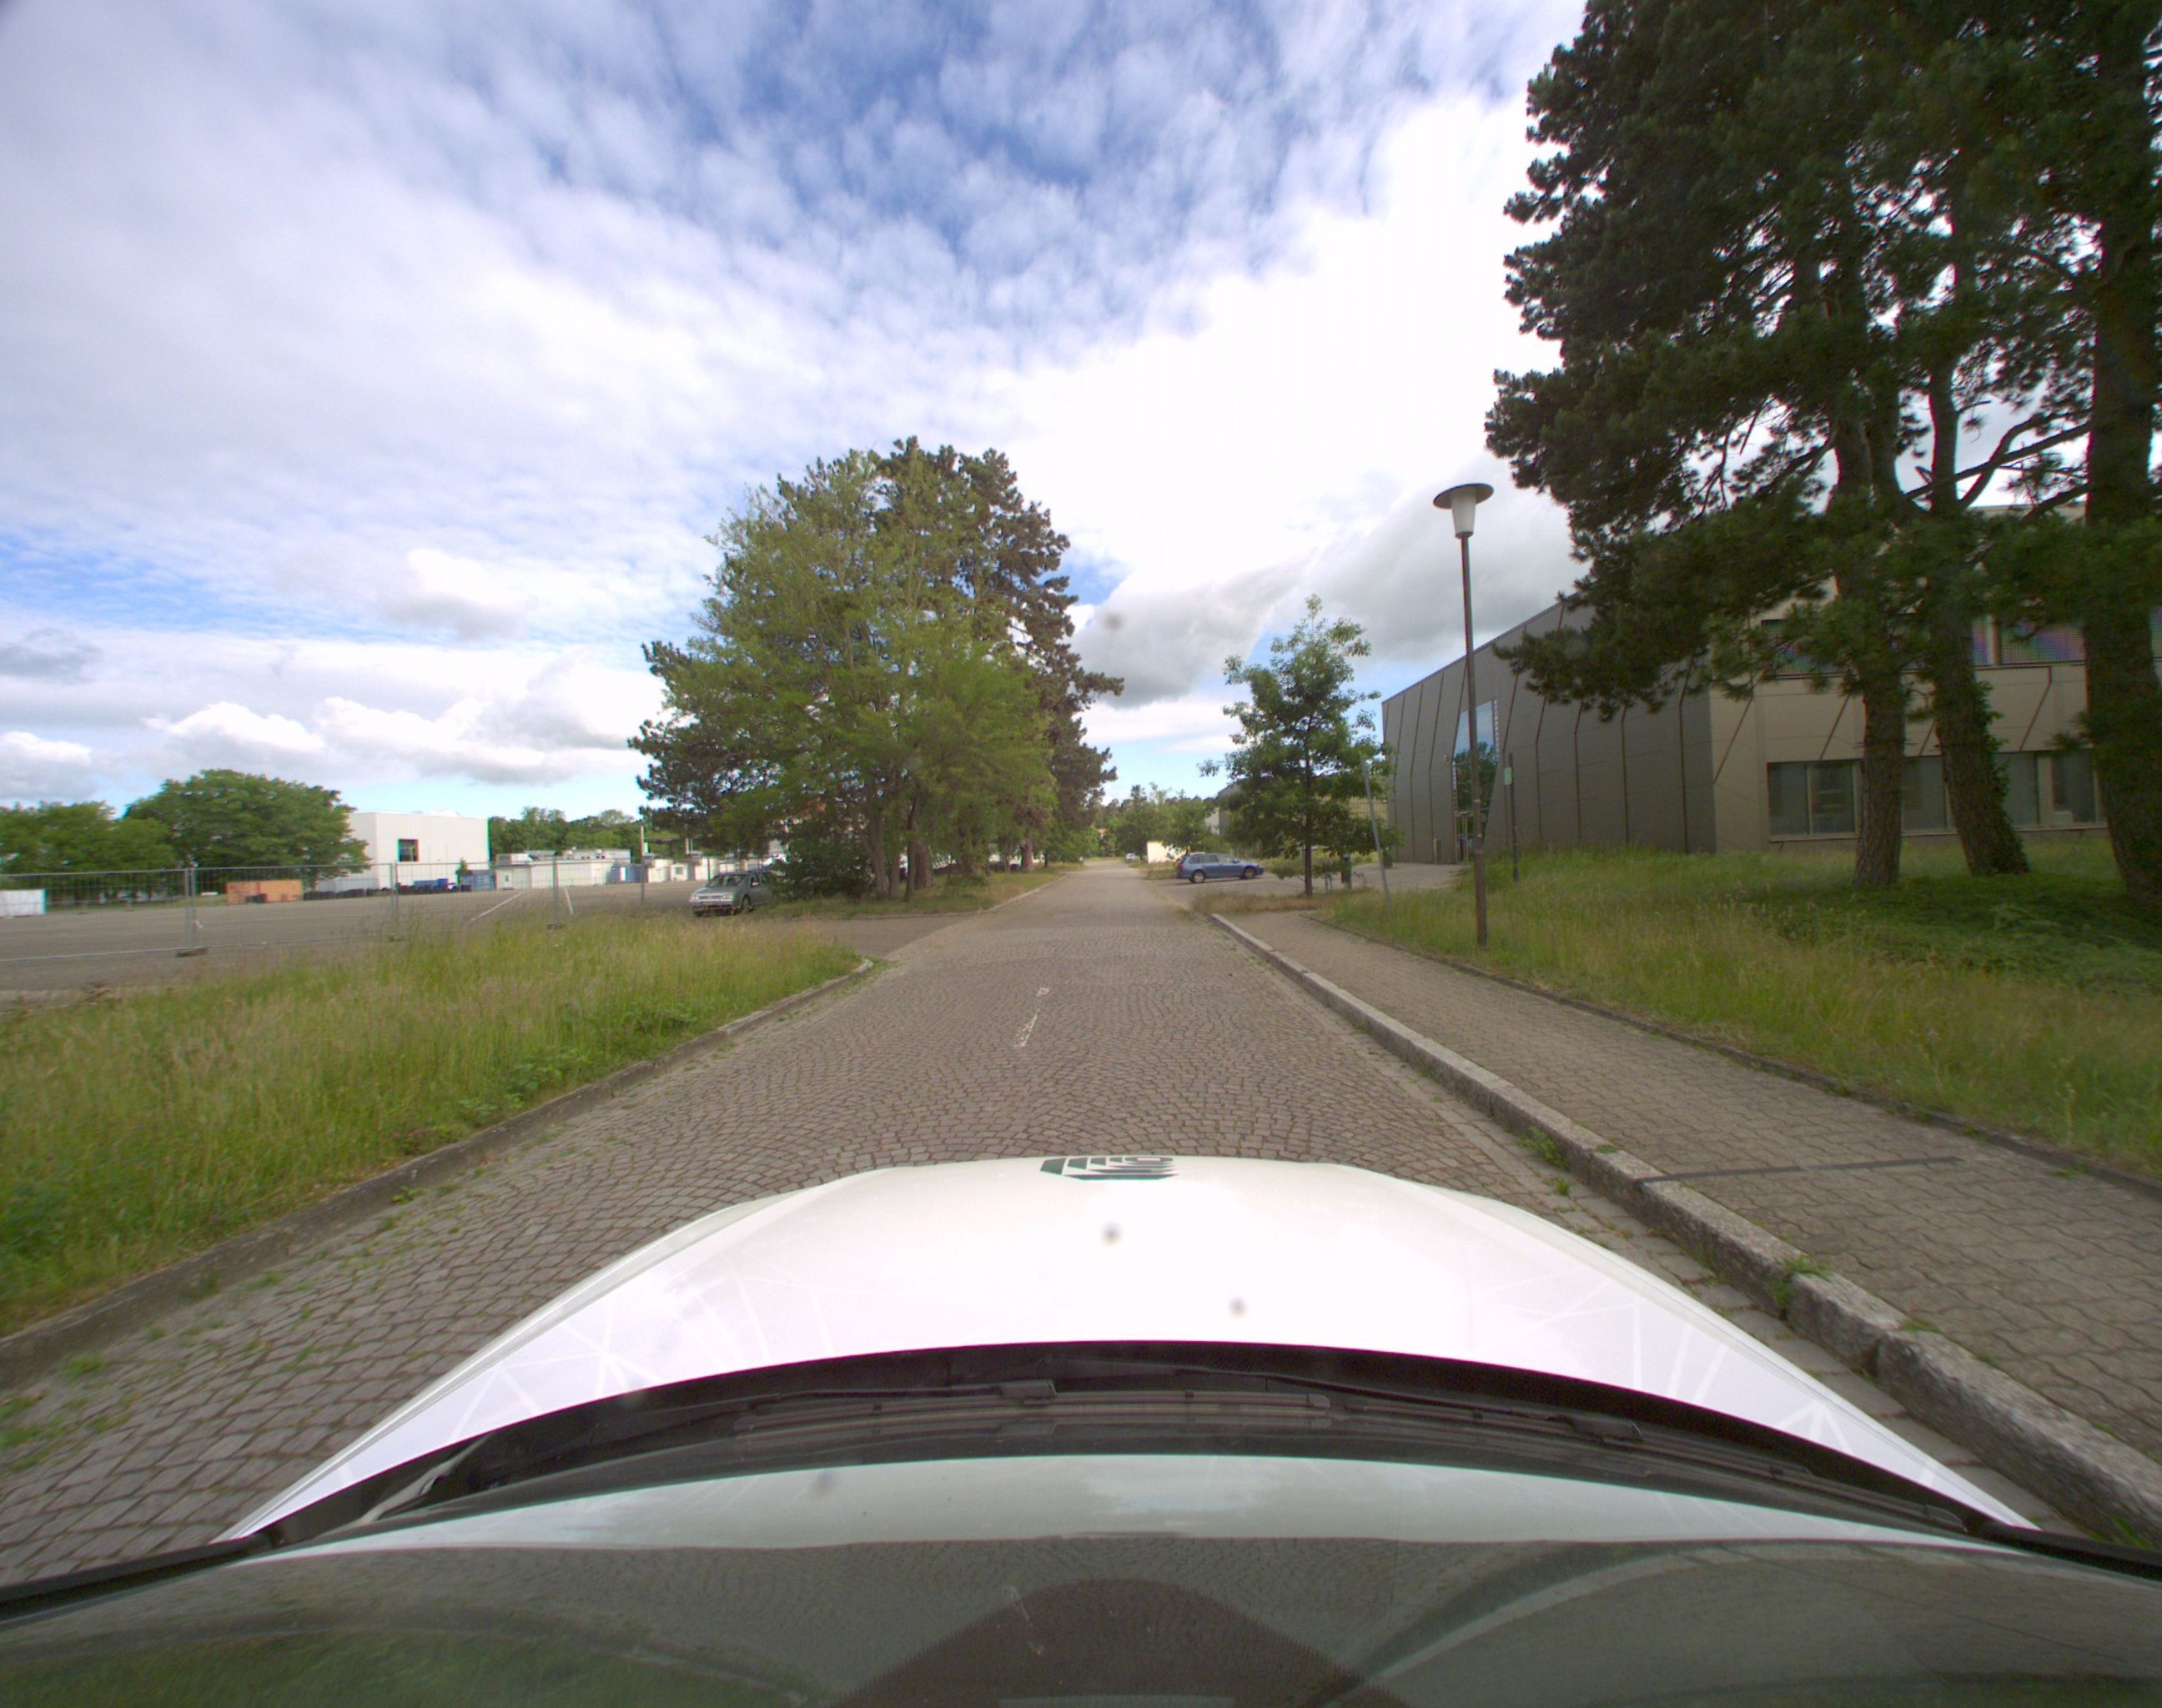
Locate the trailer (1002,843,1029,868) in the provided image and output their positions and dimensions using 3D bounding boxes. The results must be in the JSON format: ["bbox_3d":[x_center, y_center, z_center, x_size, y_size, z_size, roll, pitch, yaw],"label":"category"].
[{"bbox_3d":[-10.428,0.227,130.022,2.613,3.598,10.189,-2,0,4],"label":"trailer"}]

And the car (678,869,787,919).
[{"bbox_3d":[-11.875,1.316,28.125,1.819,1.416,4.420,-2,0,0],"label":"car"}]

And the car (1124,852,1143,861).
[{"bbox_3d":[10.315,0.515,159.431,3.509,1.362,1.623,-4,0,2],"label":"car"}]

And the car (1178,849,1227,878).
[{"bbox_3d":[7.363,0.575,49.655,2.699,1.556,1.655,-5,0,2],"label":"car"}]

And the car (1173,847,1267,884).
[{"bbox_3d":[7.151,0.585,42.313,4.477,1.475,1.830,-5,0,-1],"label":"car"}]
